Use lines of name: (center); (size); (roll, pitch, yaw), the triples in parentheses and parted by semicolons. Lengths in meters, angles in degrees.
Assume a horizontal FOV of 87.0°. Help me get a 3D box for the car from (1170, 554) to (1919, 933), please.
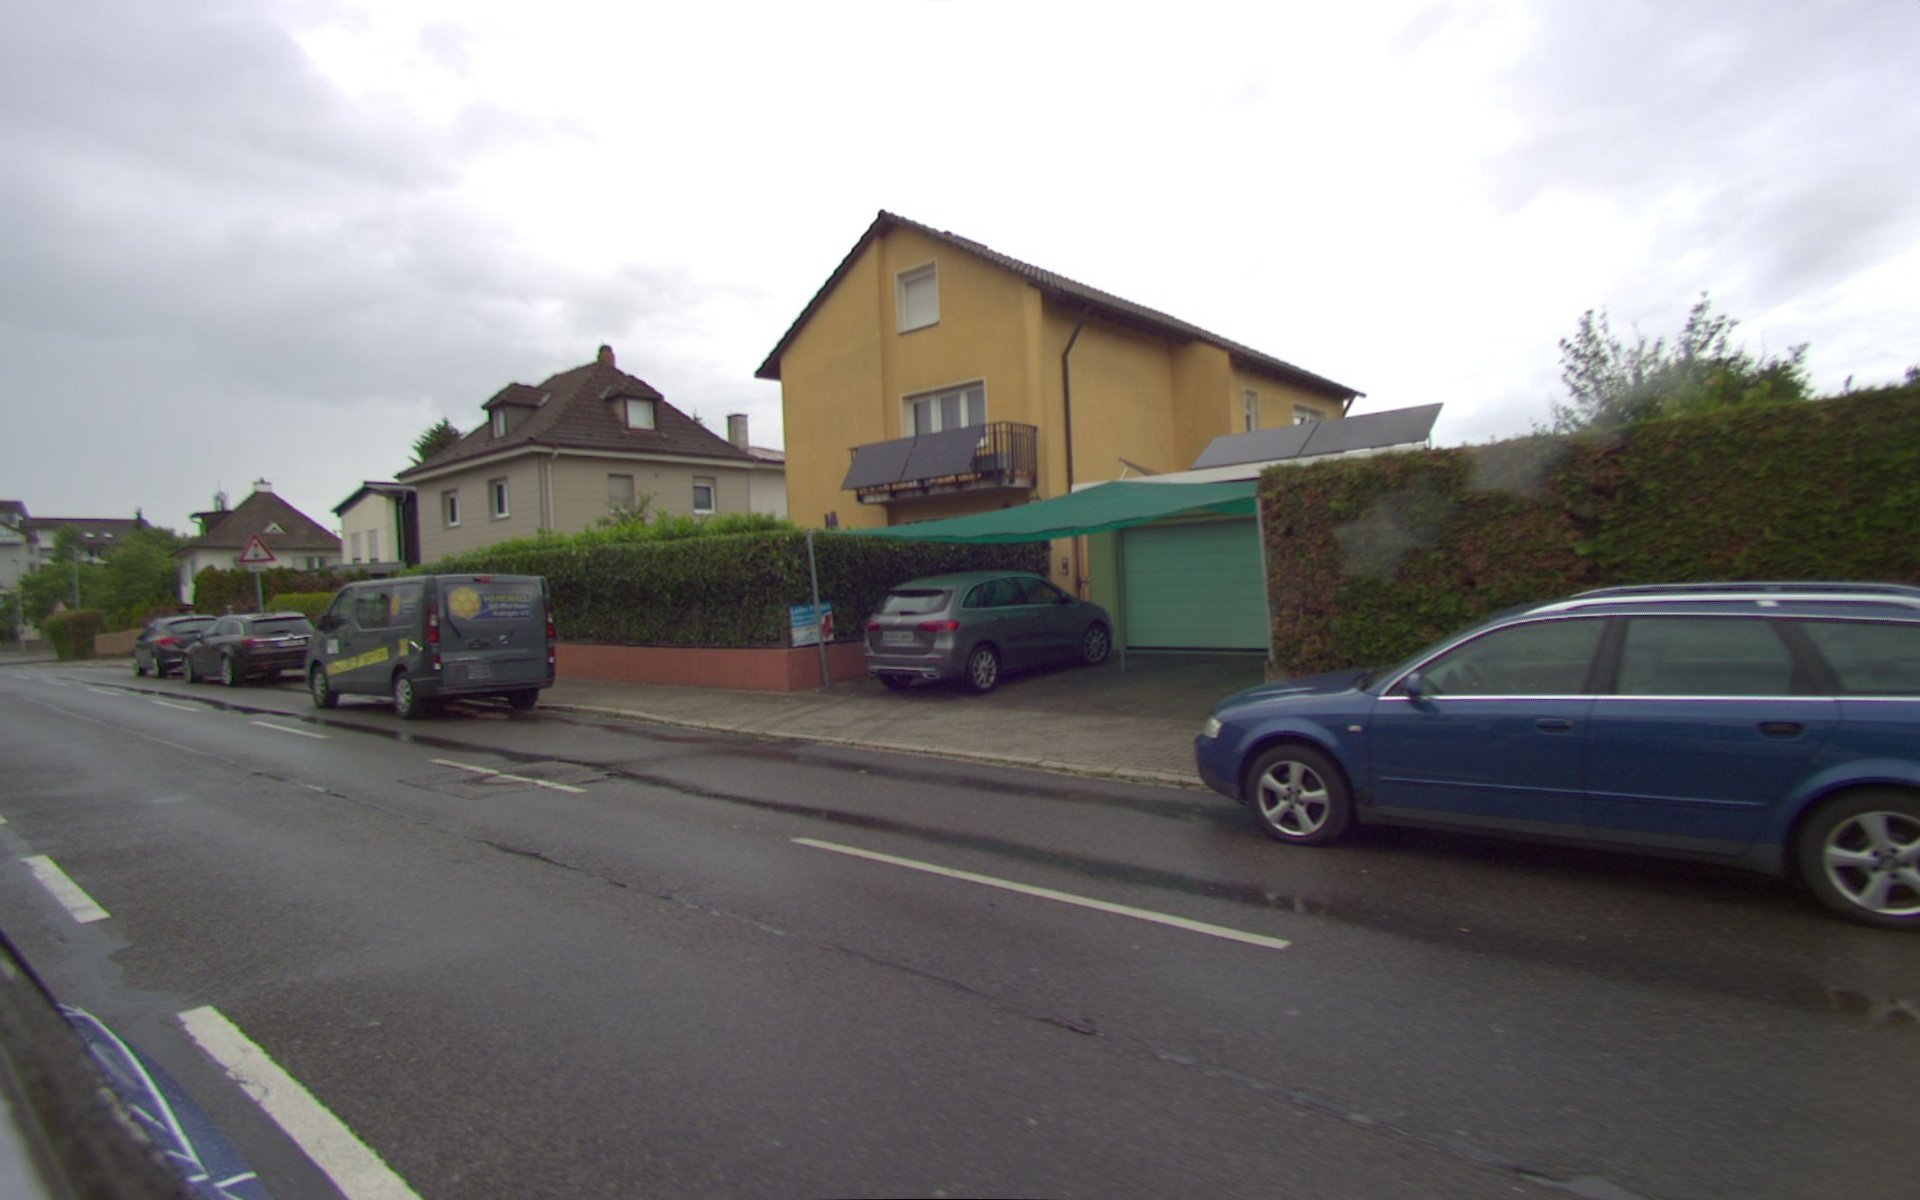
car: (3.515, 0.583, 5.608); (4.284, 1.544, 1.739); (-1, 1, 41)

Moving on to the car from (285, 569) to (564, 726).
car: (-8.282, 0.636, 15.422); (5.082, 2.018, 1.894); (-1, 1, 39)

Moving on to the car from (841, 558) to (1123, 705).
car: (0.436, 0.344, 14.553); (1.918, 1.625, 3.920); (-1, 4, 41)

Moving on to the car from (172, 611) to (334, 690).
car: (-15.689, 1.061, 22.356); (4.522, 1.528, 1.733); (-1, 1, 39)

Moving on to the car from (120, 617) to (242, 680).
car: (-20.414, 1.226, 26.481); (4.127, 1.450, 1.732); (-1, 1, 41)
